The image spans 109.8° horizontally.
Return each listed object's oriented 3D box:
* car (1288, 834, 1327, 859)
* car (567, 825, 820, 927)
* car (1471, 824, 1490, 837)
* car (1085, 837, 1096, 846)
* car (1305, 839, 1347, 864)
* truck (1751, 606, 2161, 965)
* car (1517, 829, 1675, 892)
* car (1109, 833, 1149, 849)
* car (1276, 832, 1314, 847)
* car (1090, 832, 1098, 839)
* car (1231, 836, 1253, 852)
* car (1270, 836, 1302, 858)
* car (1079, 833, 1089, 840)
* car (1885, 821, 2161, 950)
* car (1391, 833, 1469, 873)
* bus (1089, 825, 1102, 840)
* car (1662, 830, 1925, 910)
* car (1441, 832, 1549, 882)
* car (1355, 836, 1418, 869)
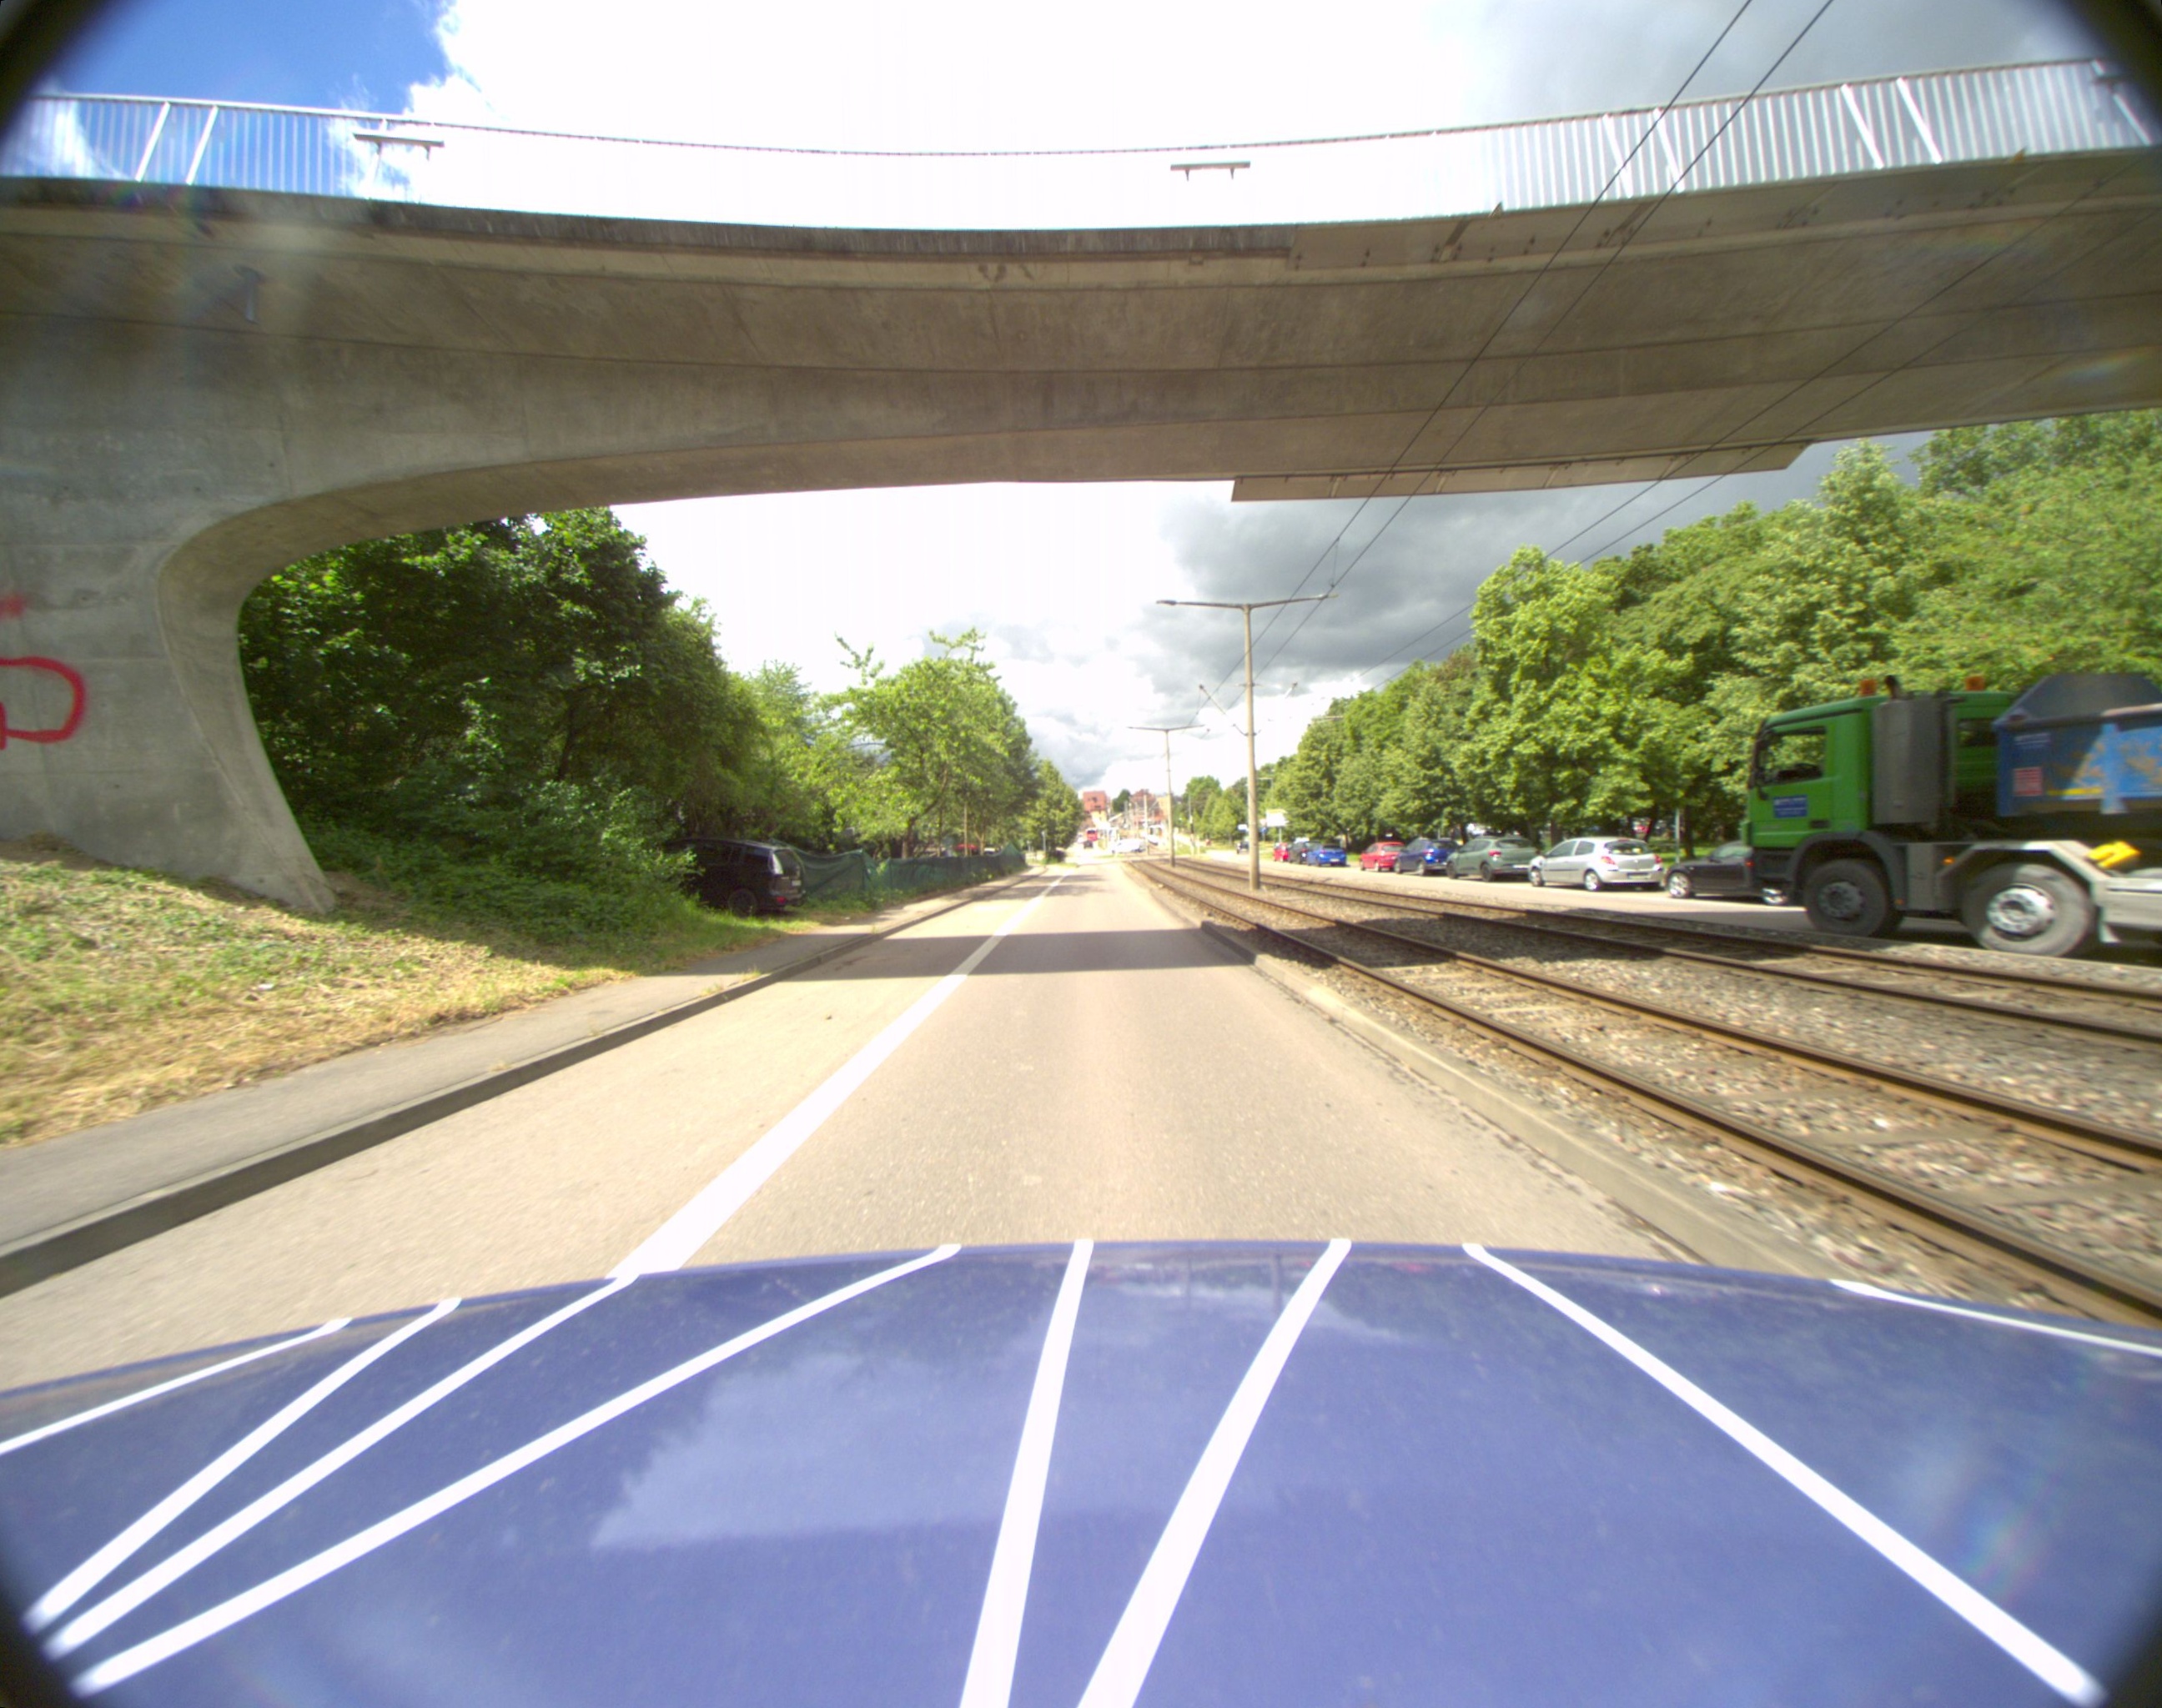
[{"bbox_3d":[15.588,-0.538,52.477,1.584,1.596,4.375,-1,1,3],"label":"car"},{"bbox_3d":[-8.539,0.424,17.026,4.535,1.662,1.999,6,3,2],"label":"car"},{"bbox_3d":[53.156,-3.165,101.100,1.753,1.412,4.006,-2,3,34],"label":"car"},{"bbox_3d":[1.807,-2.450,144.864,1.858,1.576,4.323,-2,2,-1],"label":"car"},{"bbox_3d":[15.200,-0.197,47.299,1.616,1.453,4.008,0,1,4],"label":"car"},{"bbox_3d":[11.428,-0.704,6.472,2.879,3.301,9.024,-4,2,-5],"label":"truck"},{"bbox_3d":[14.285,0.146,21.391,1.597,1.485,4.192,-4,1,1],"label":"car"},{"bbox_3d":[6.670,-1.834,106.621,5.221,2.008,1.884,-2,3,33],"label":"car"},{"bbox_3d":[27.757,-1.858,98.399,4.352,1.680,1.740,-5,3,-15],"label":"car"},{"bbox_3d":[3.244,-4.662,192.487,1.738,1.501,3.514,-4,2,3],"label":"car"},{"bbox_3d":[18.107,-1.191,85.671,1.617,1.565,3.999,-4,2,2],"label":"car"},{"bbox_3d":[15.704,-0.537,58.419,1.616,1.444,3.661,-4,3,4],"label":"car"},{"bbox_3d":[0.679,-4.104,180.121,1.939,1.374,4.660,-4,2,4],"label":"car"},{"bbox_3d":[13.944,0.323,10.469,1.693,1.442,3.897,-4,3,3],"label":"car"},{"bbox_3d":[14.662,-0.074,32.182,1.561,1.587,4.160,-1,1,3],"label":"car"},{"bbox_3d":[3.936,-5.655,202.049,2.923,3.864,10.378,-3,2,3],"label":"bus"},{"bbox_3d":[13.887,0.262,15.189,1.515,1.352,4.129,-1,1,3],"label":"car"},{"bbox_3d":[14.439,0.043,26.763,1.646,1.613,4.125,1,1,3],"label":"car"},{"bbox_3d":[14.950,-0.080,37.390,1.616,1.485,4.048,-2,0,4],"label":"car"}]
